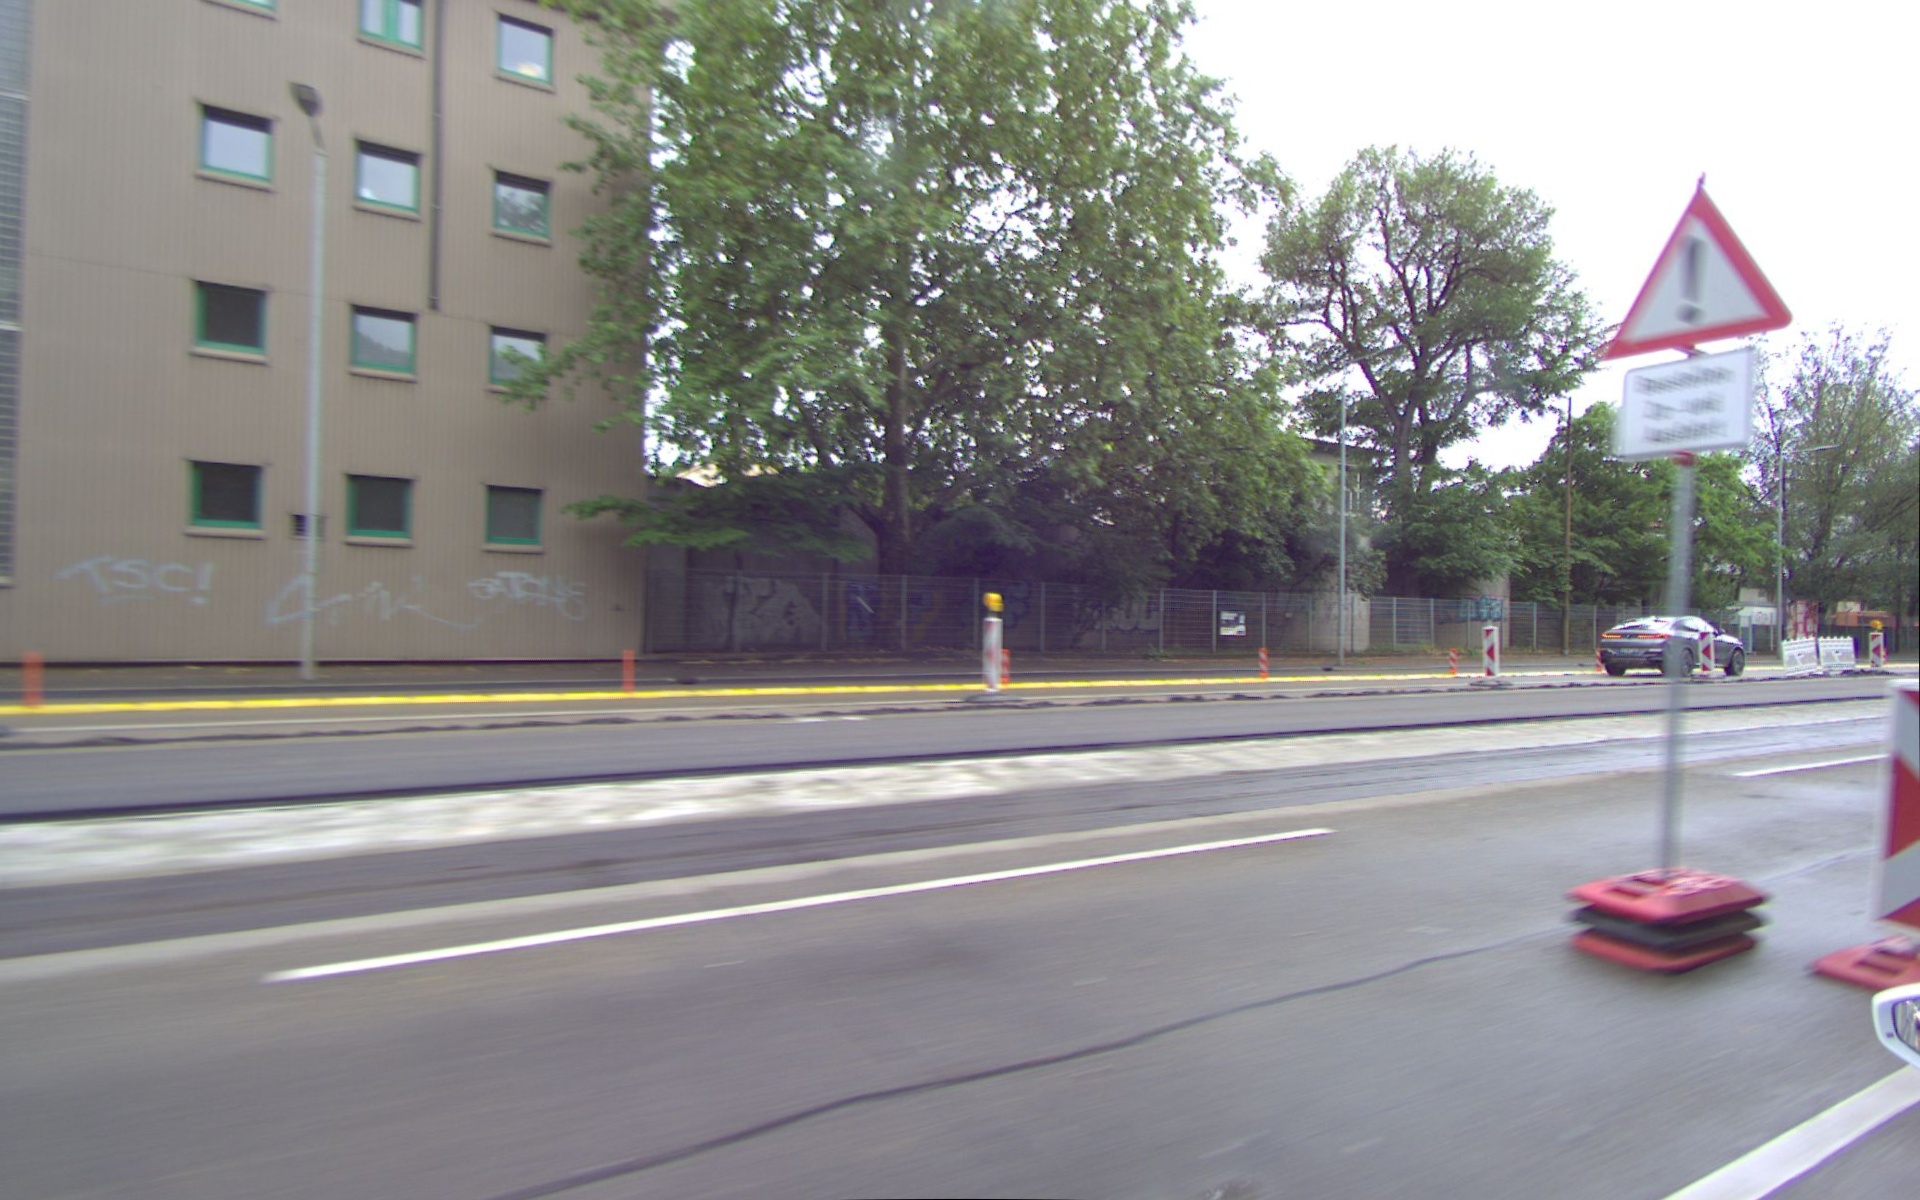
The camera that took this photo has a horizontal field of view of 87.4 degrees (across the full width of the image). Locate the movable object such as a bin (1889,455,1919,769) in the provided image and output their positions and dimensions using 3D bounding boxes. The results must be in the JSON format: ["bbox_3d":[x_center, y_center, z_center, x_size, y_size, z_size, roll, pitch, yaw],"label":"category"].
[{"bbox_3d":[13.368,0.214,11.743,5.911,3.412,1.984,2,0,-30],"label":"movable object such as a bin"}]

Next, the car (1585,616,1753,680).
[{"bbox_3d":[20.319,1.357,28.748,4.998,1.634,2.066,2,-1,-31],"label":"car"}]
